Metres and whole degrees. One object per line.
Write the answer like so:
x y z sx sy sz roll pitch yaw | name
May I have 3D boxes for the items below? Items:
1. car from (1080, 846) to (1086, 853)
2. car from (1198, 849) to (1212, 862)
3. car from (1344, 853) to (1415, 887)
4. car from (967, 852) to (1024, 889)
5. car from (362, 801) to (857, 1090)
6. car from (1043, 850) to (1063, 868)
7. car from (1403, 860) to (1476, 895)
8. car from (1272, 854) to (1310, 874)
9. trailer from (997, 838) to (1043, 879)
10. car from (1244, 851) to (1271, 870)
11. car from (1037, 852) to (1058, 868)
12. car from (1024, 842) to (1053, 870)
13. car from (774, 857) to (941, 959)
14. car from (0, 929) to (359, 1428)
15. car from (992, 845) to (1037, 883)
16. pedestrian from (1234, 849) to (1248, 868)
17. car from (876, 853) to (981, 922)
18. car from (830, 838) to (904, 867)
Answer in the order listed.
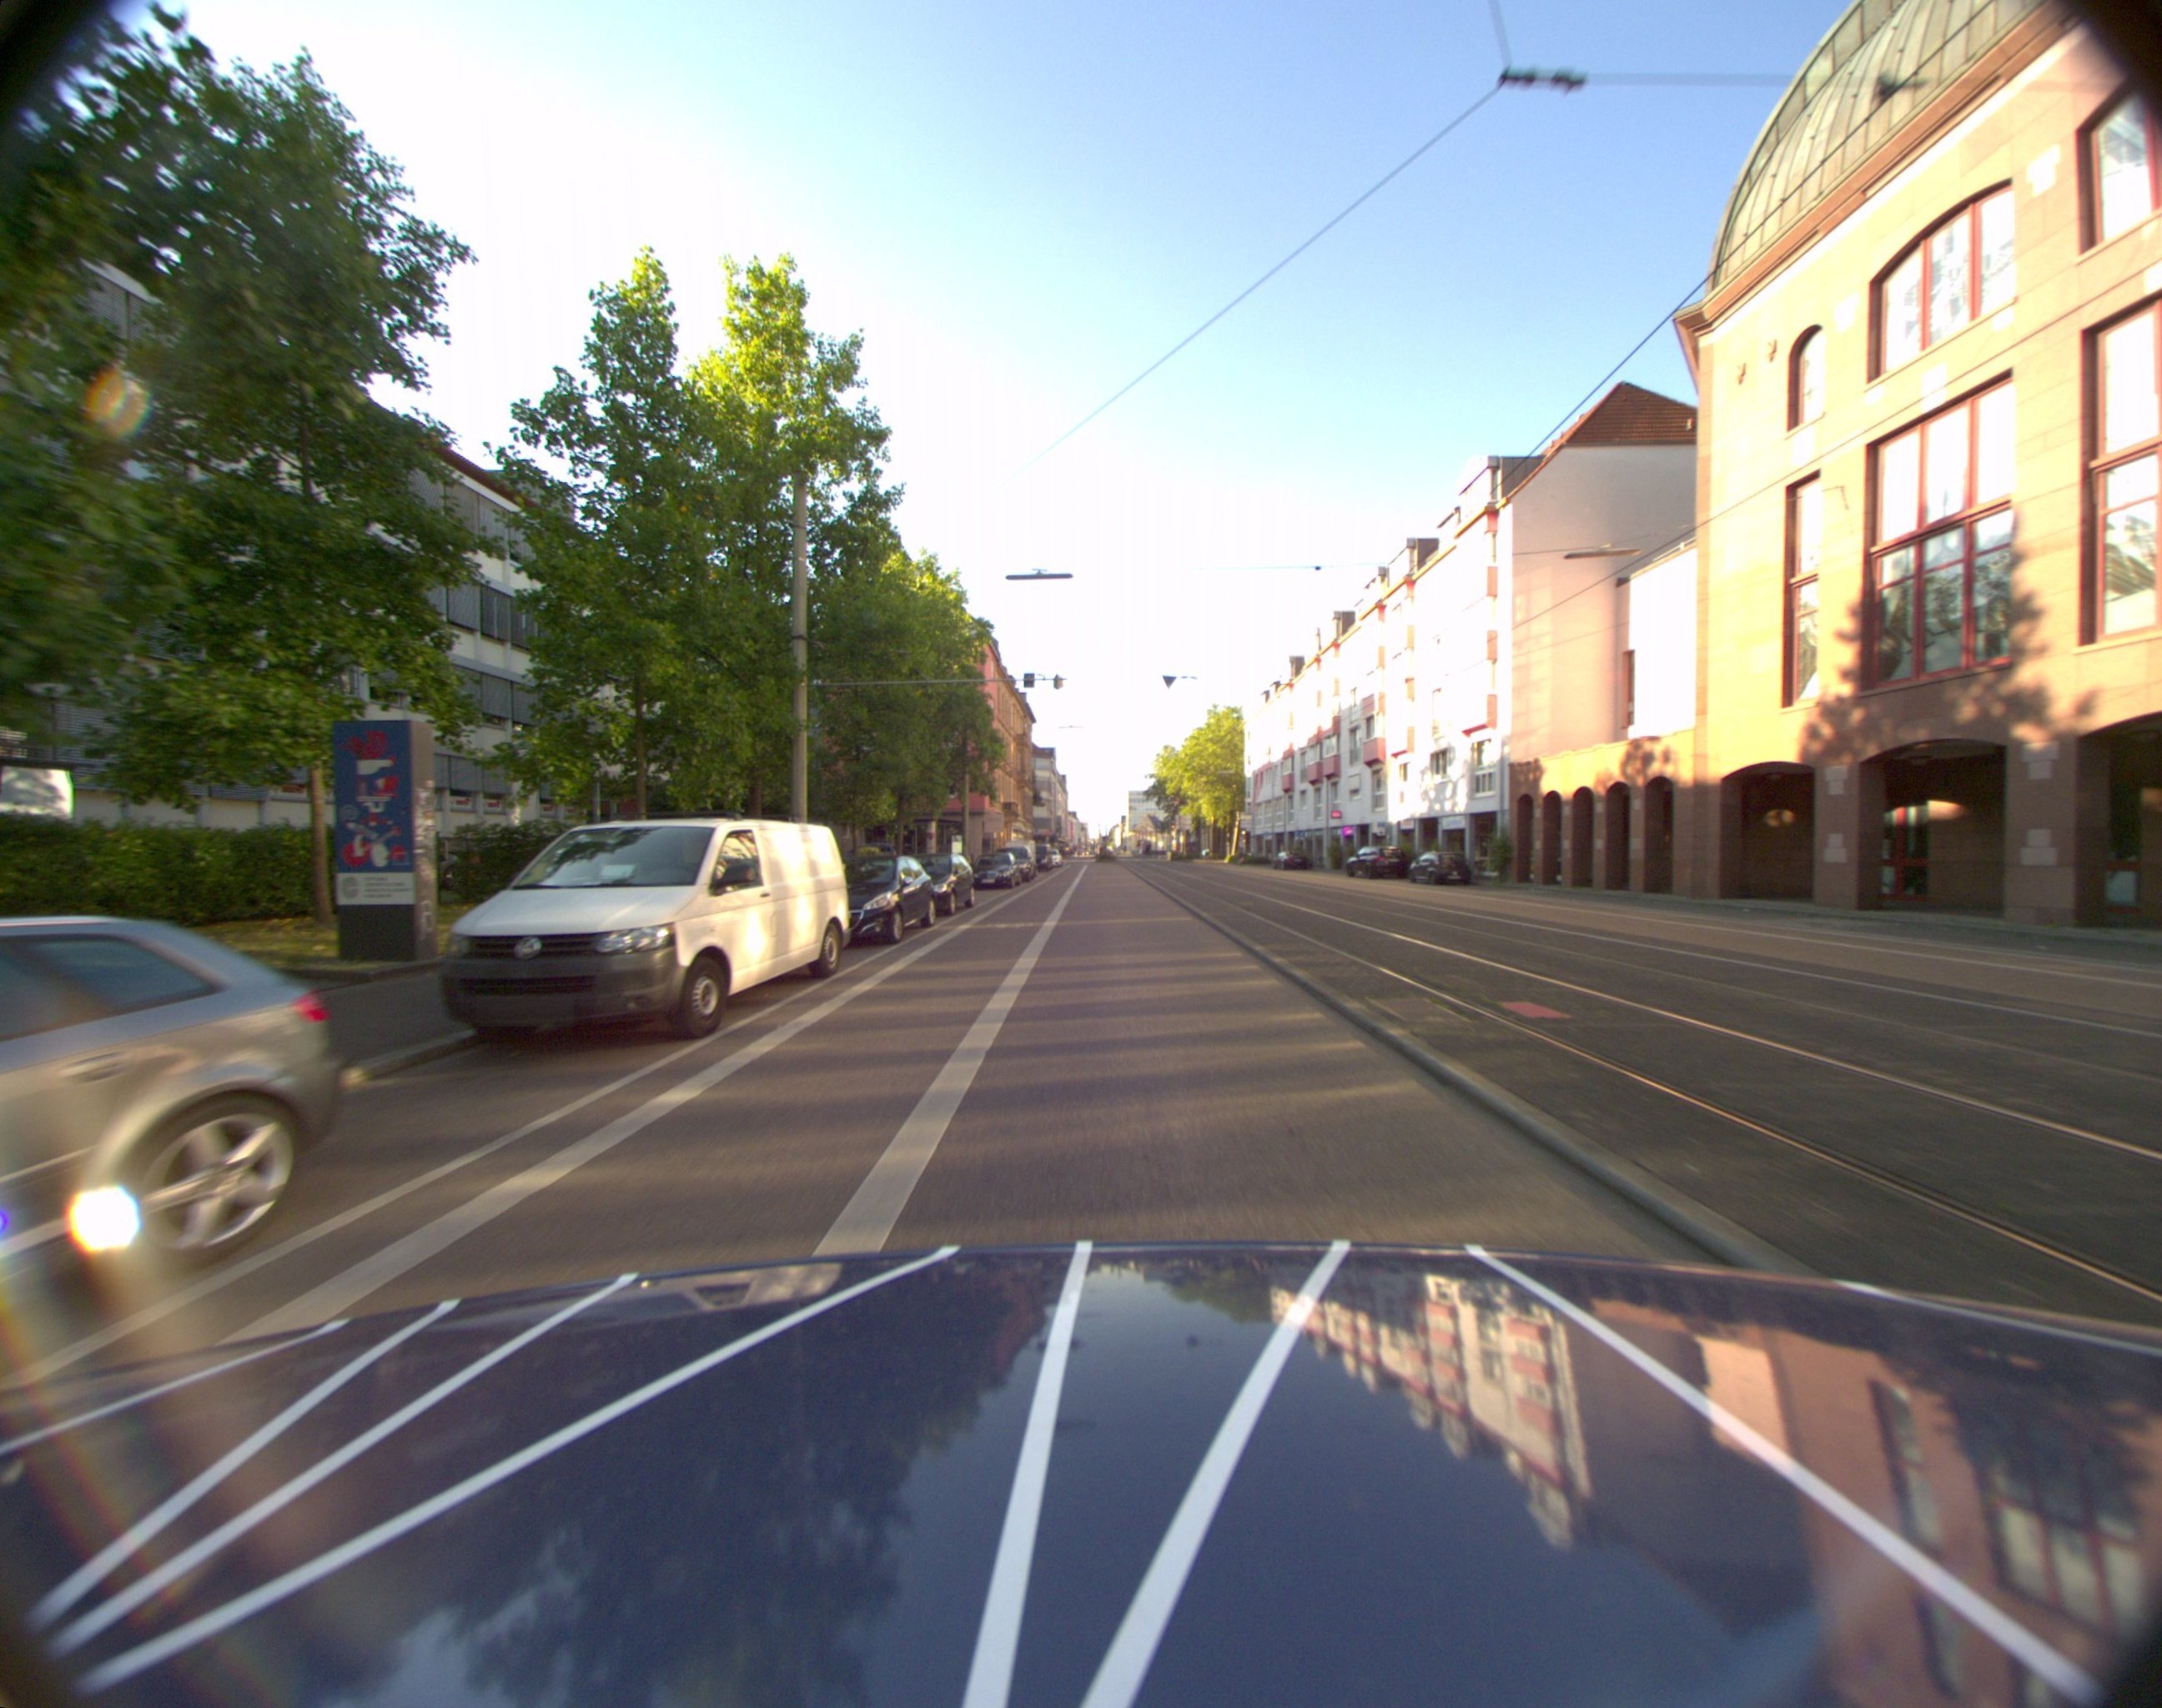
0.436 -1.125 185.546 1.420 1.612 3.627 -1 0 1 | car
15.849 0.202 97.237 1.383 1.664 2.882 1 0 2 | car
15.938 0.786 40.830 1.964 1.690 4.560 -1 0 0 | car
-3.440 0.642 31.318 1.784 1.420 4.212 -1 0 1 | car
-4.040 0.648 7.793 1.881 2.009 4.905 -1 0 2 | car
-2.358 0.414 64.827 1.420 1.425 3.872 -1 0 1 | car
16.038 1.020 34.192 1.646 1.392 3.683 -1 0 2 | car
16.458 0.735 59.760 1.829 1.500 4.561 -1 0 2 | car
-3.332 0.239 42.467 1.783 2.136 5.316 -1 0 4 | trailer
17.495 0.620 75.535 1.931 1.787 4.385 0 0 4 | car
-2.621 0.468 59.980 1.420 1.183 3.086 -1 0 1 | car
-2.926 0.125 53.251 1.697 1.832 4.695 -1 1 1 | car
-3.823 0.847 13.736 1.687 1.484 3.911 -2 1 2 | car
-4.161 1.092 1.370 1.678 1.396 4.166 -2 1 0 | car
-3.226 0.462 37.590 1.784 1.735 4.474 -1 0 1 | car
14.724 0.418 69.887 1.096 1.768 1.253 1 1 6 | pedestrian
-3.689 0.746 19.041 1.597 1.486 3.902 -1 1 3 | car
-14.099 -0.101 50.170 4.367 1.662 1.589 3 0 -3 | car
